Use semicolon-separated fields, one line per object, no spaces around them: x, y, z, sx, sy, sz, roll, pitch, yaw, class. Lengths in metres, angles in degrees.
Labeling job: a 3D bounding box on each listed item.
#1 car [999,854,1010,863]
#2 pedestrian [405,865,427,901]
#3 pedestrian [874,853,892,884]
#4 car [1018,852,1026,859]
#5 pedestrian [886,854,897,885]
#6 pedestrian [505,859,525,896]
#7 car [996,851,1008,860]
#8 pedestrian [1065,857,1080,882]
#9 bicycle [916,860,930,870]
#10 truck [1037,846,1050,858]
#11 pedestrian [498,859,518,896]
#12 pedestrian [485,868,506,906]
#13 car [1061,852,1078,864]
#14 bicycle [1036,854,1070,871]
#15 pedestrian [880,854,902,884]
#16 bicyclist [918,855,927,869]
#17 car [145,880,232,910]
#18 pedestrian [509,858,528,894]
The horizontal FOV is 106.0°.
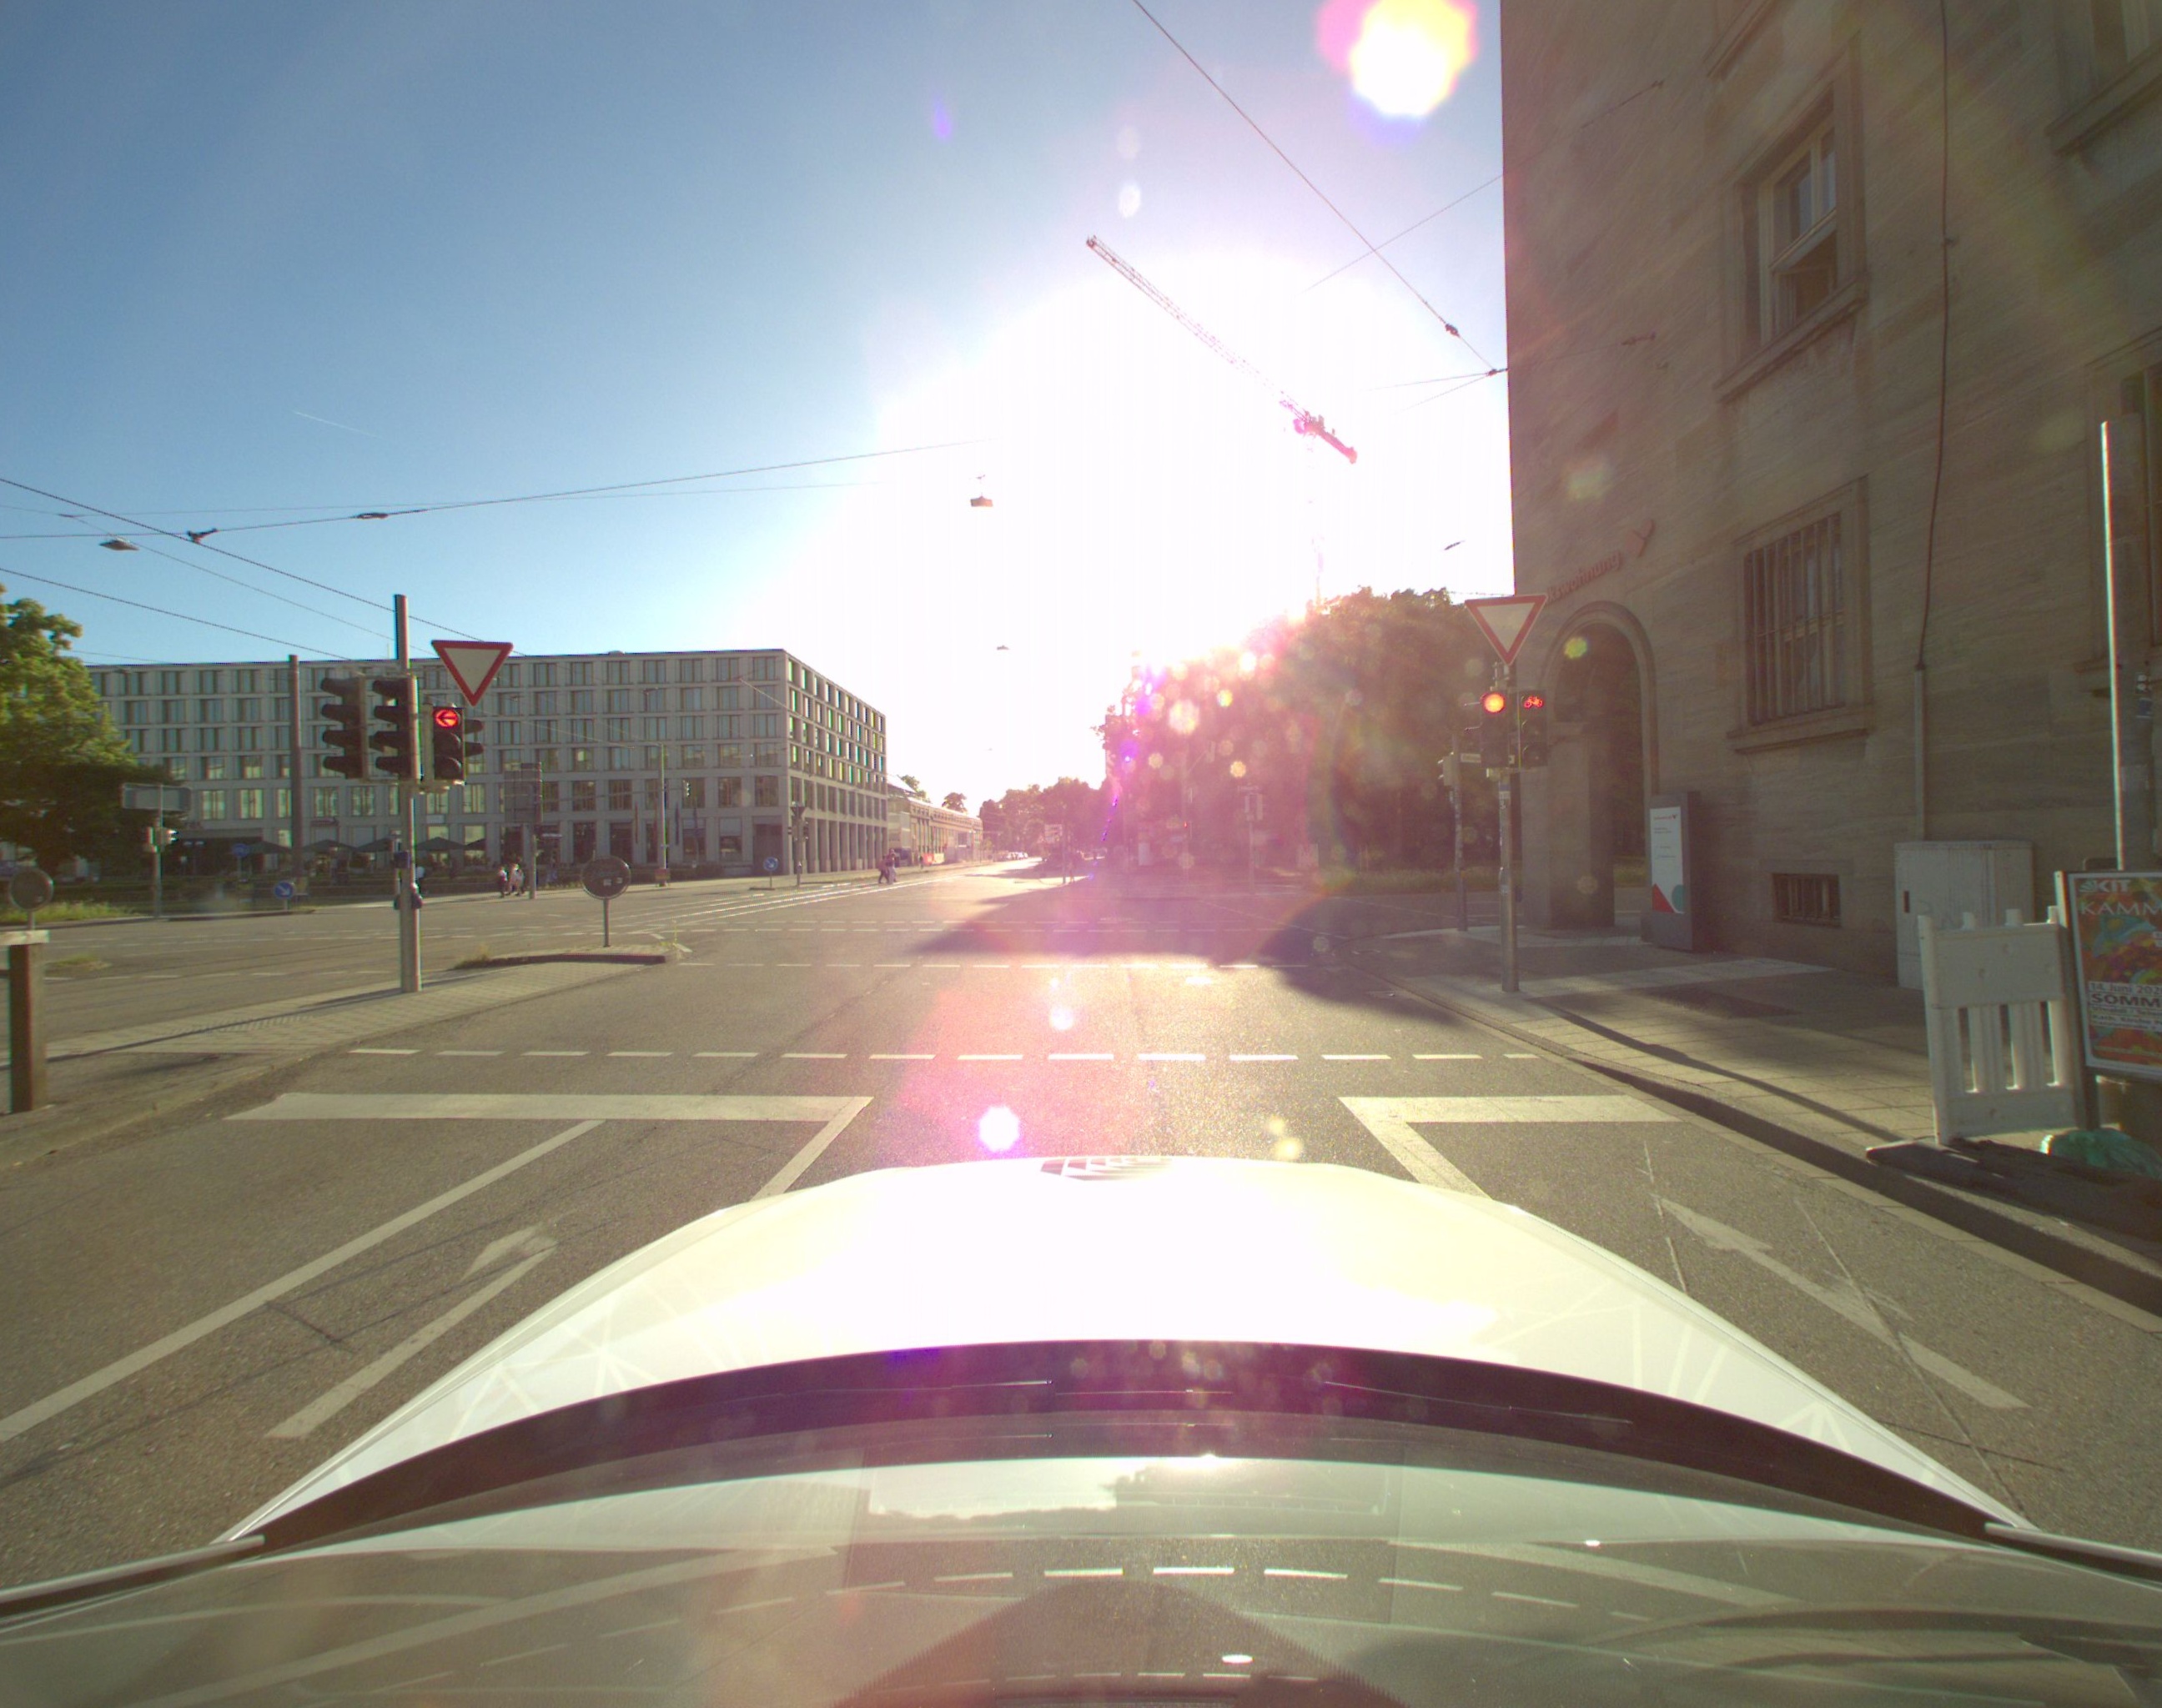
-15.093;0.882;160.627;1.724;1.653;4.002;-2;0;2;car
-36.161;1.567;44.259;0.557;1.903;0.684;-2;0;10;pedestrian
-10.755;0.793;44.313;0.792;1.639;0.534;-2;0;4;pedestrian
-14.059;0.314;194.877;1.478;1.750;4.002;-2;0;2;car
-10.517;0.854;45.246;0.440;1.662;0.376;-2;0;1;pedestrian
-31.309;1.275;45.057;0.528;2.013;0.800;-2;0;-5;pedestrian
-15.197;0.315;156.587;1.724;1.653;4.002;-2;0;2;car
-0.466;0.833;44.579;0.749;1.332;0.743;-2;0;3;pedestrian
-18.513;1.298;95.275;0.872;1.121;3.015;-2;0;3;bicycle
-6.648;-0.380;146.047;1.908;2.092;4.002;-2;0;2;truck
-31.932;1.291;45.417;0.528;2.013;0.800;-2;0;-5;pedestrian
-31.619;1.751;43.977;0.528;2.013;0.800;-2;0;-5;pedestrian
-1.282;0.427;92.024;1.814;1.279;3.999;-2;0;0;car
-2.329;0.721;67.364;2.728;1.367;0.633;-1;-1;12;bicycle
-10.116;0.789;43.400;0.980;1.587;0.661;-2;-1;3;pedestrian
-18.526;0.895;95.280;0.872;1.641;0.822;-2;0;3;bicyclist
-46.881;2.132;42.807;3.168;1.438;1.474;-2;0;7;car
-32.060;1.267;46.401;0.528;2.013;0.800;-2;0;-5;pedestrian
